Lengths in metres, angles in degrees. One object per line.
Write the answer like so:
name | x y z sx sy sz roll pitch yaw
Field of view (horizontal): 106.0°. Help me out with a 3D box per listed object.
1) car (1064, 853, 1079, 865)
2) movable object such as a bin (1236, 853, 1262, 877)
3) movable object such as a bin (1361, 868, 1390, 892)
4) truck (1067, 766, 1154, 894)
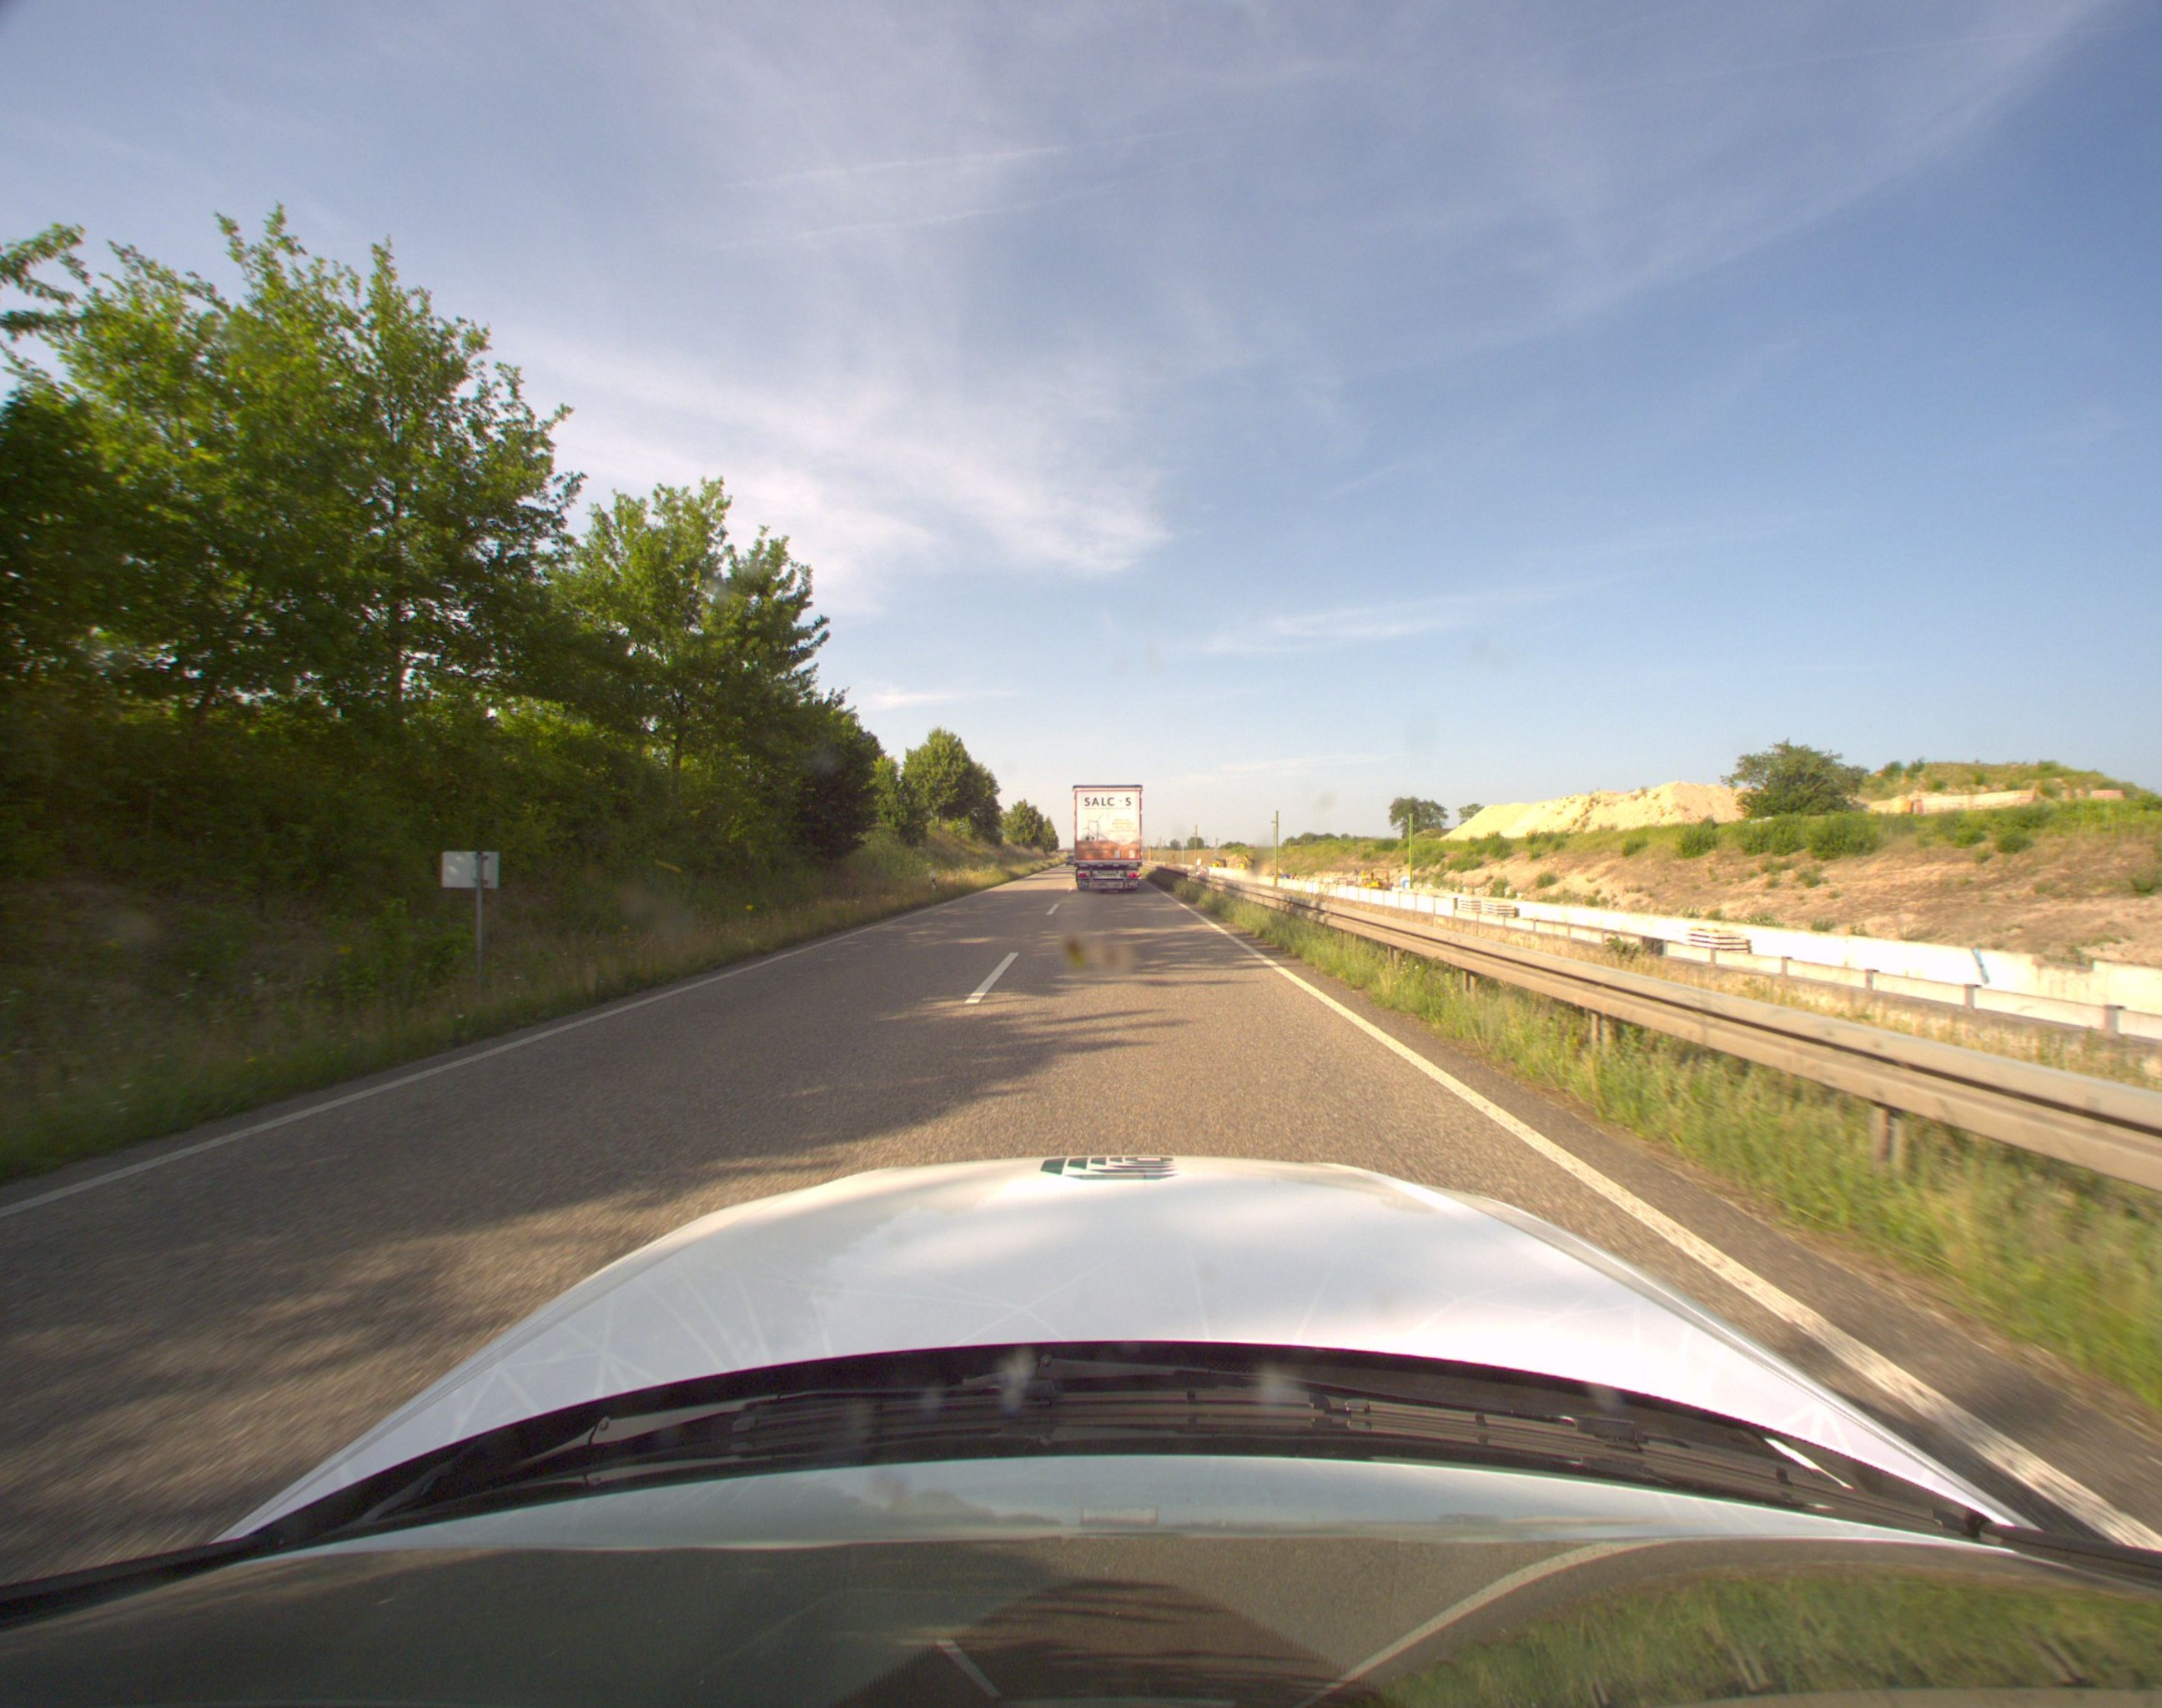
car | -1.266 0.603 108.604 1.736 1.546 4.314 -1 0 2
movable object such as a bin | 28.487 1.793 138.381 2.787 3.886 7.537 0 0 0
movable object such as a bin | 32.817 2.874 90.713 2.877 2.661 2.031 0 0 26
truck | 1.192 -0.879 34.409 3.141 4.688 8.443 -1 0 1
